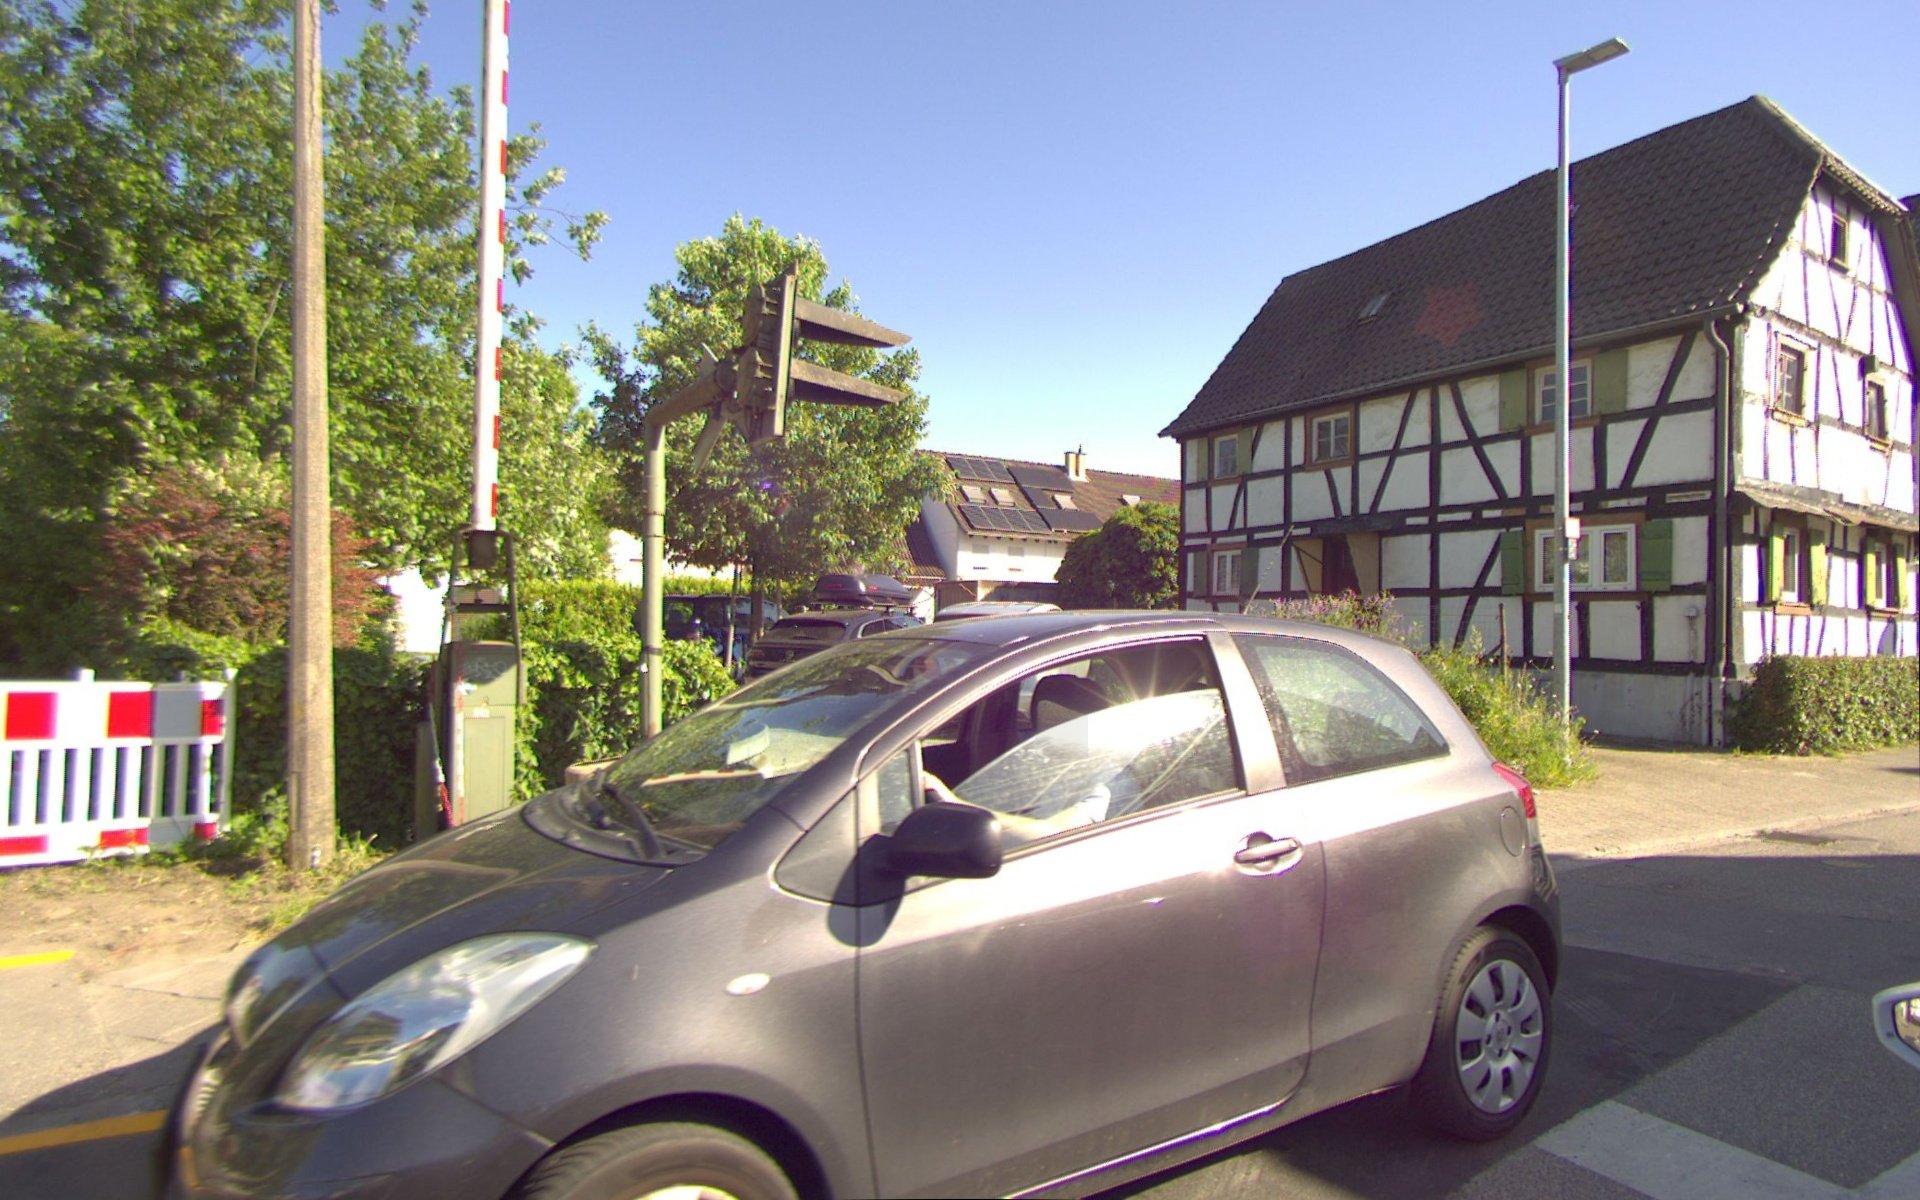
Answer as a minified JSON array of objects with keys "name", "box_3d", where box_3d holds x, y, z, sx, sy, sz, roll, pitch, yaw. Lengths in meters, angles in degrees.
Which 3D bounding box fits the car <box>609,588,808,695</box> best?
[{"name":"car","box_3d":[-4.313,0.698,17.851,1.619,1.655,3.833,1,-1,18]}]

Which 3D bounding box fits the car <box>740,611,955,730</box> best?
[{"name":"car","box_3d":[-1.427,0.892,14.264,1.609,1.420,3.833,1,-1,17]}]

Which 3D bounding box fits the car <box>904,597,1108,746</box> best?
[{"name":"car","box_3d":[0.772,0.821,13.210,1.655,1.585,4.001,2,0,18]}]

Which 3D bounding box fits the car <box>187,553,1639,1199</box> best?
[{"name":"car","box_3d":[0.140,0.768,2.961,3.611,1.530,1.678,2,-1,-30]}]
